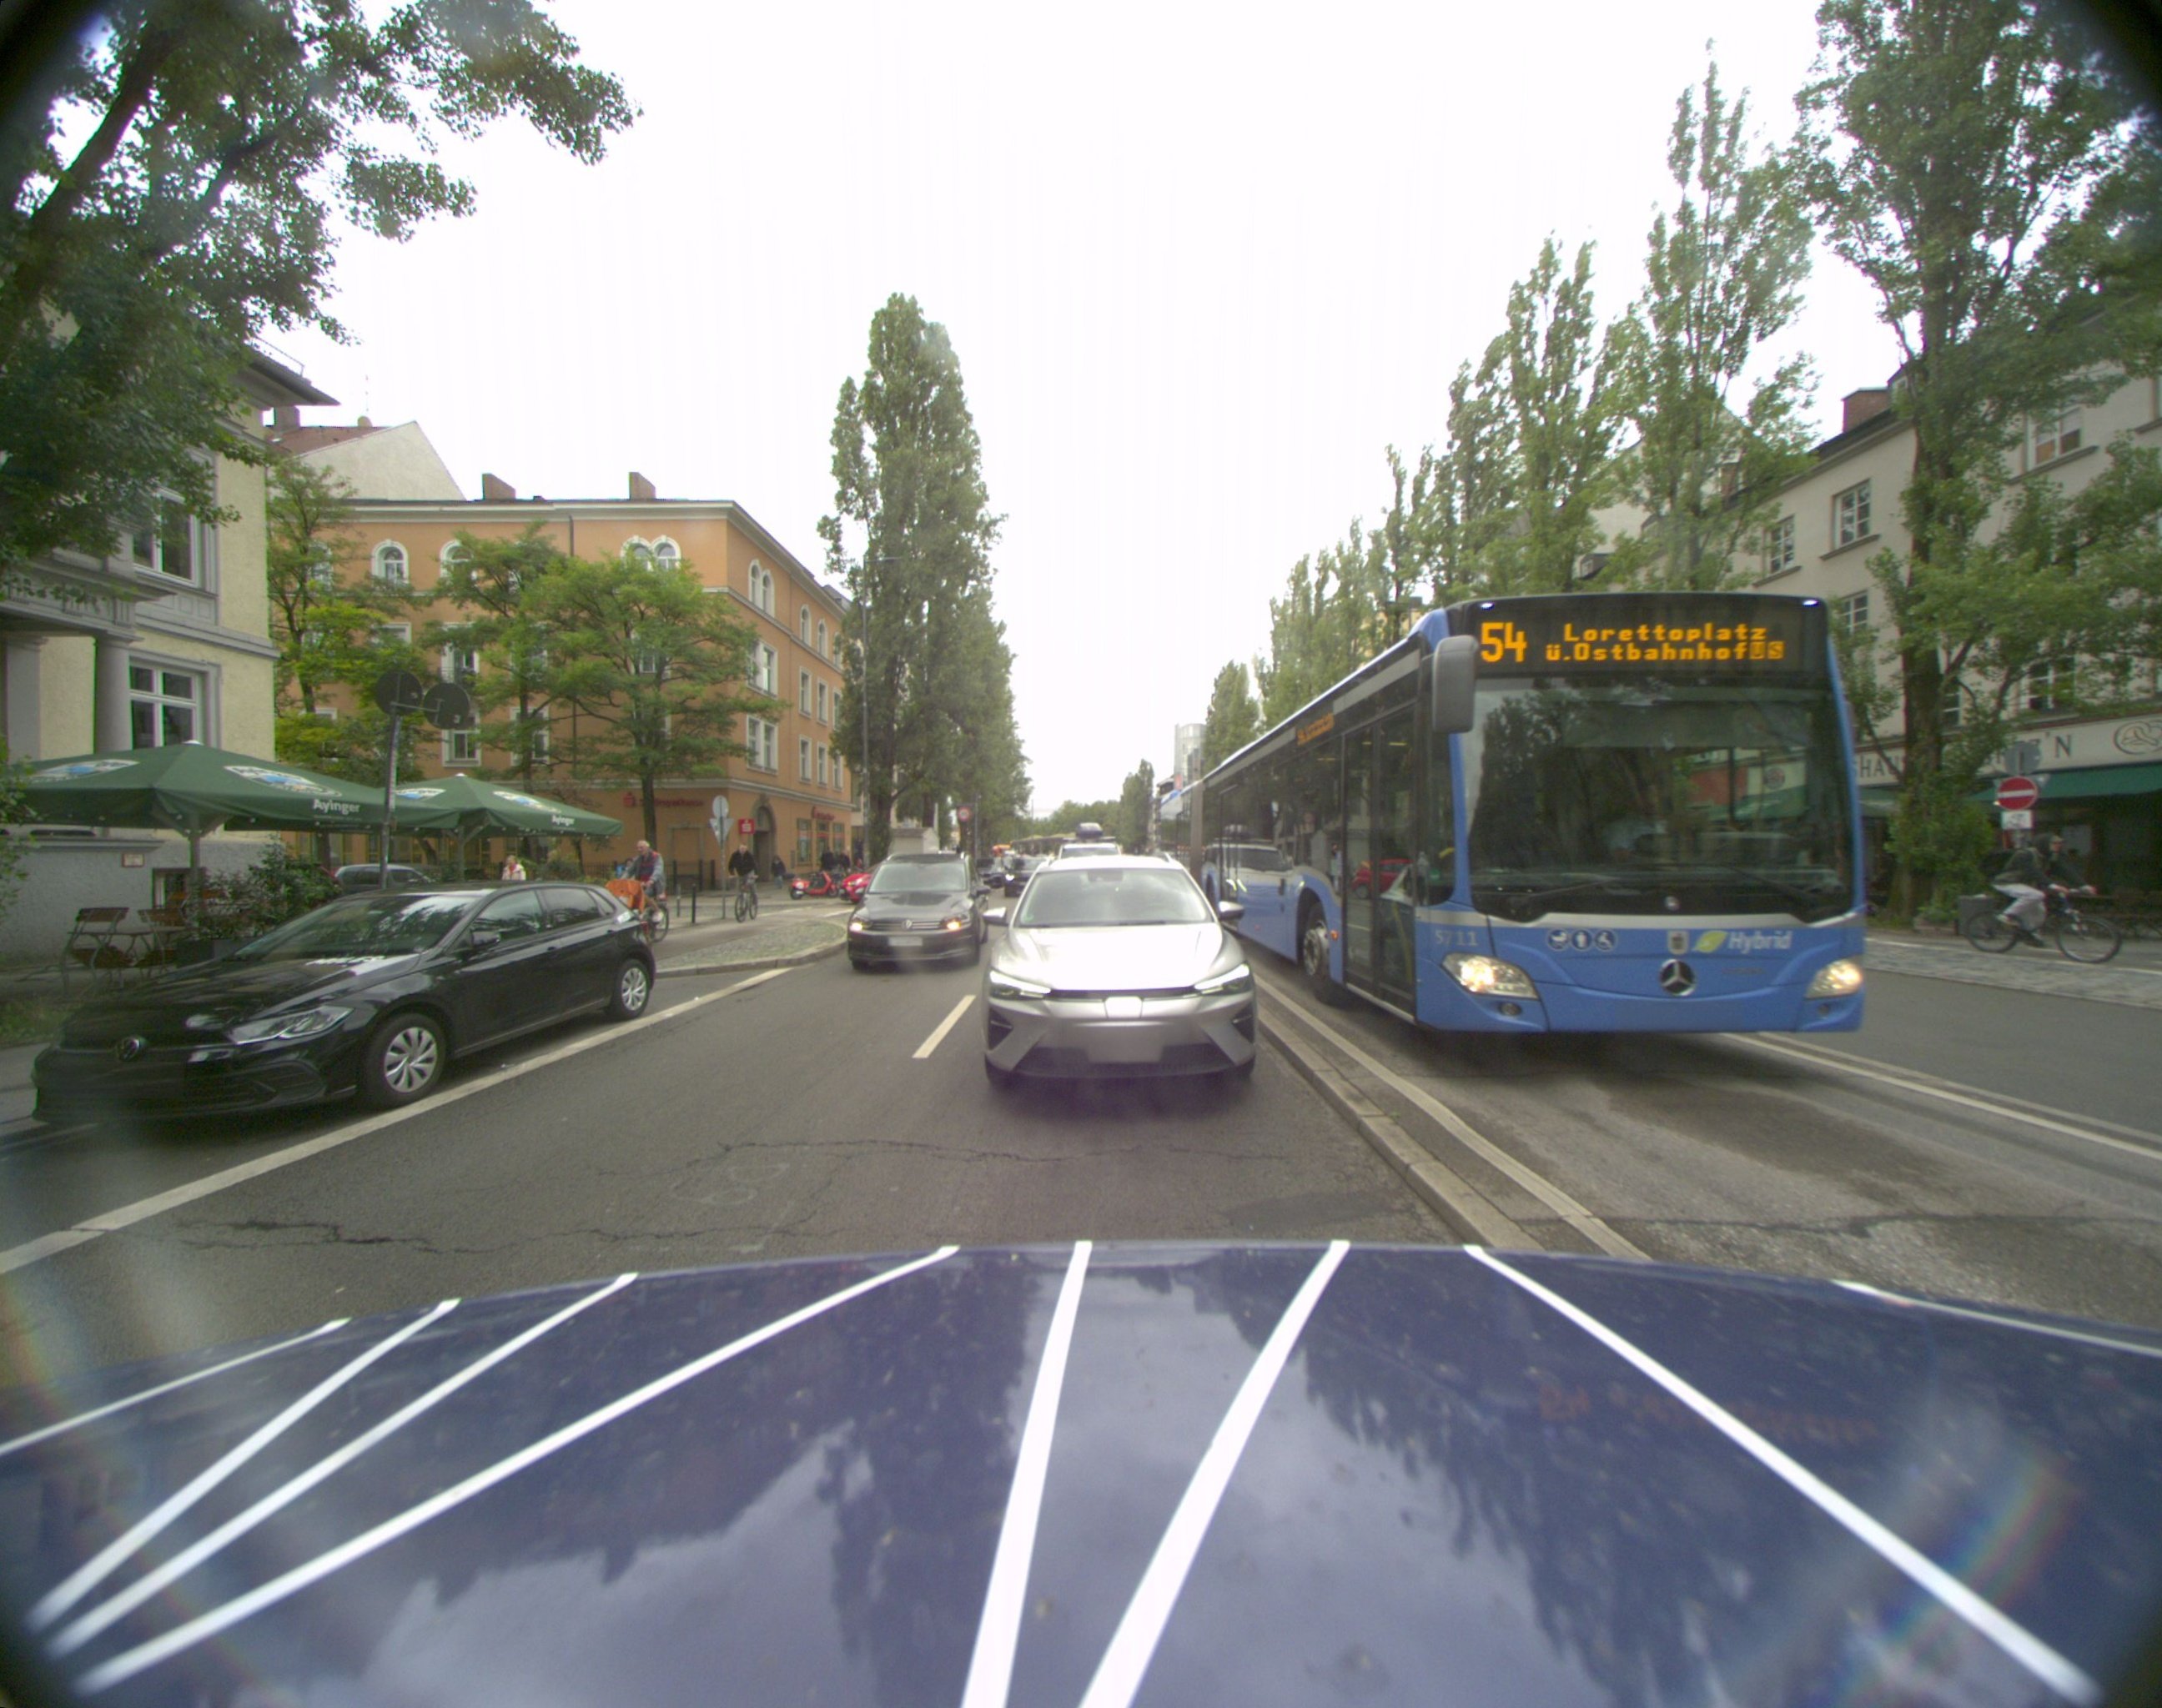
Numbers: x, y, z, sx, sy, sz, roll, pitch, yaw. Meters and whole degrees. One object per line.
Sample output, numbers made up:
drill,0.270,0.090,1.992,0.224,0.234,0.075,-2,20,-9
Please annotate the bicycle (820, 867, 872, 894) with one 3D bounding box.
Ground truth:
bicycle,-9.466,1.068,30.637,1.945,1.069,0.561,-1,1,1

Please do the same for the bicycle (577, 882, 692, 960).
bicycle,-7.500,1.089,12.918,0.887,1.113,2.100,-1,1,-6

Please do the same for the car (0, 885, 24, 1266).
car,-5.521,0.986,1.071,1.808,1.628,4.446,-2,0,-1

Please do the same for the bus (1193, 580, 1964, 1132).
bus,3.390,0.000,9.082,2.696,2.932,10.052,0,0,0

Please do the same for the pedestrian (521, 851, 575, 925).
pedestrian,-12.998,0.811,18.547,0.699,1.756,0.732,-2,1,4

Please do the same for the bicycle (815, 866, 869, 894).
bicycle,-9.406,1.009,29.892,1.945,1.082,0.561,-1,1,1

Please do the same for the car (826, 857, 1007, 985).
car,-2.337,0.873,11.953,1.882,1.582,4.192,-2,0,0

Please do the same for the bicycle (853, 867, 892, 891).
bicycle,-9.168,1.098,33.460,1.602,1.004,0.342,-1,1,-6

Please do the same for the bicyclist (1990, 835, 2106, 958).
bicyclist,13.813,0.588,10.875,0.606,1.695,0.816,-1,1,2

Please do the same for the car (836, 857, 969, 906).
car,-5.932,0.859,25.397,4.010,1.425,1.613,-2,0,-33

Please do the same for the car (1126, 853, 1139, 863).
car,7.910,0.638,117.179,1.718,1.532,4.076,1,0,1

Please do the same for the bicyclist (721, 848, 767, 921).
bicyclist,-7.843,0.696,17.707,0.741,1.677,0.748,-1,1,-2

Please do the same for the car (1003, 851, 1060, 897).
car,-1.932,0.757,30.796,1.706,1.683,4.004,-3,0,3

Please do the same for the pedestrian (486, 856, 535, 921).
pedestrian,-14.136,0.851,18.850,0.699,1.562,0.575,-2,1,3

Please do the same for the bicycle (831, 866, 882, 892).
bicycle,-9.442,1.046,31.989,1.945,1.078,0.561,-1,1,1

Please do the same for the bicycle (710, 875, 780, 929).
bicycle,-7.847,1.084,17.839,0.737,1.113,2.101,-1,0,-2

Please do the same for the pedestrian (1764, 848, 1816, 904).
pedestrian,21.432,0.651,22.987,0.699,1.637,0.929,0,1,6

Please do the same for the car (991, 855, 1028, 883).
car,-4.383,0.879,46.958,1.789,1.604,4.498,-2,0,0

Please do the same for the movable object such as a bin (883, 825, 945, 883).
movable object such as a bin,-9.366,-0.005,43.033,2.445,3.119,4.543,1,0,1

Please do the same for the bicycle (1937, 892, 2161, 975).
bicycle,13.819,1.082,10.918,0.613,0.963,2.174,-1,0,1

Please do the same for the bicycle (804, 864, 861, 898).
bicycle,-9.352,1.012,28.599,1.945,1.232,0.561,-1,1,1

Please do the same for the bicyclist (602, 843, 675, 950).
bicyclist,-7.493,0.699,12.899,0.831,1.747,0.667,-1,1,-7

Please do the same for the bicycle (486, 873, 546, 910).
bicycle,-22.250,1.478,29.937,1.945,1.364,0.561,-2,1,1

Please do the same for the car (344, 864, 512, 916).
car,-22.254,1.209,26.011,3.997,1.511,1.906,-2,1,-1

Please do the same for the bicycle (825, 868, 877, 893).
bicycle,-9.452,1.079,31.241,1.945,1.004,0.561,-1,1,1

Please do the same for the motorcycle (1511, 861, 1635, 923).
motorcycle,11.973,0.881,18.605,0.747,1.406,2.448,0,0,-33

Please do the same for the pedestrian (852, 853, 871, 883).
pedestrian,-11.869,0.744,41.132,0.745,1.562,0.614,-2,1,3

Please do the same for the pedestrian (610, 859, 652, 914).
pedestrian,-13.144,0.946,22.197,0.745,1.562,0.664,-2,1,3

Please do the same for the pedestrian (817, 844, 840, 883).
pedestrian,-12.786,0.492,38.507,0.840,1.937,0.801,-2,1,-2

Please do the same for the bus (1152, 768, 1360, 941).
bus,3.454,-0.007,17.992,2.690,2.932,10.052,0,0,0

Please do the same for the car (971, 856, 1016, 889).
car,-4.511,0.896,39.622,1.789,1.544,4.498,-2,0,0

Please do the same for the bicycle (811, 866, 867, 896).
bicycle,-9.312,1.039,29.242,1.945,1.130,0.561,-1,1,1

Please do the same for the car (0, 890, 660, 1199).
car,-5.239,1.099,5.970,1.698,1.408,3.950,-1,0,-1

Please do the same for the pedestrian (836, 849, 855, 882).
pedestrian,-12.036,0.595,38.827,0.746,1.651,0.771,-2,1,-5

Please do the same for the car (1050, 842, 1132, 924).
car,0.239,0.630,20.131,1.839,1.831,5.129,-2,1,0

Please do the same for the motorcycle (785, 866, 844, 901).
motorcycle,-9.700,1.054,27.637,1.963,1.214,0.514,-1,1,-25

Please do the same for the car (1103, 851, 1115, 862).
car,4.962,0.408,133.061,1.998,2.002,4.000,0,0,1

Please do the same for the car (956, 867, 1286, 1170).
car,0.222,0.932,6.151,1.742,1.510,4.033,-2,0,0
